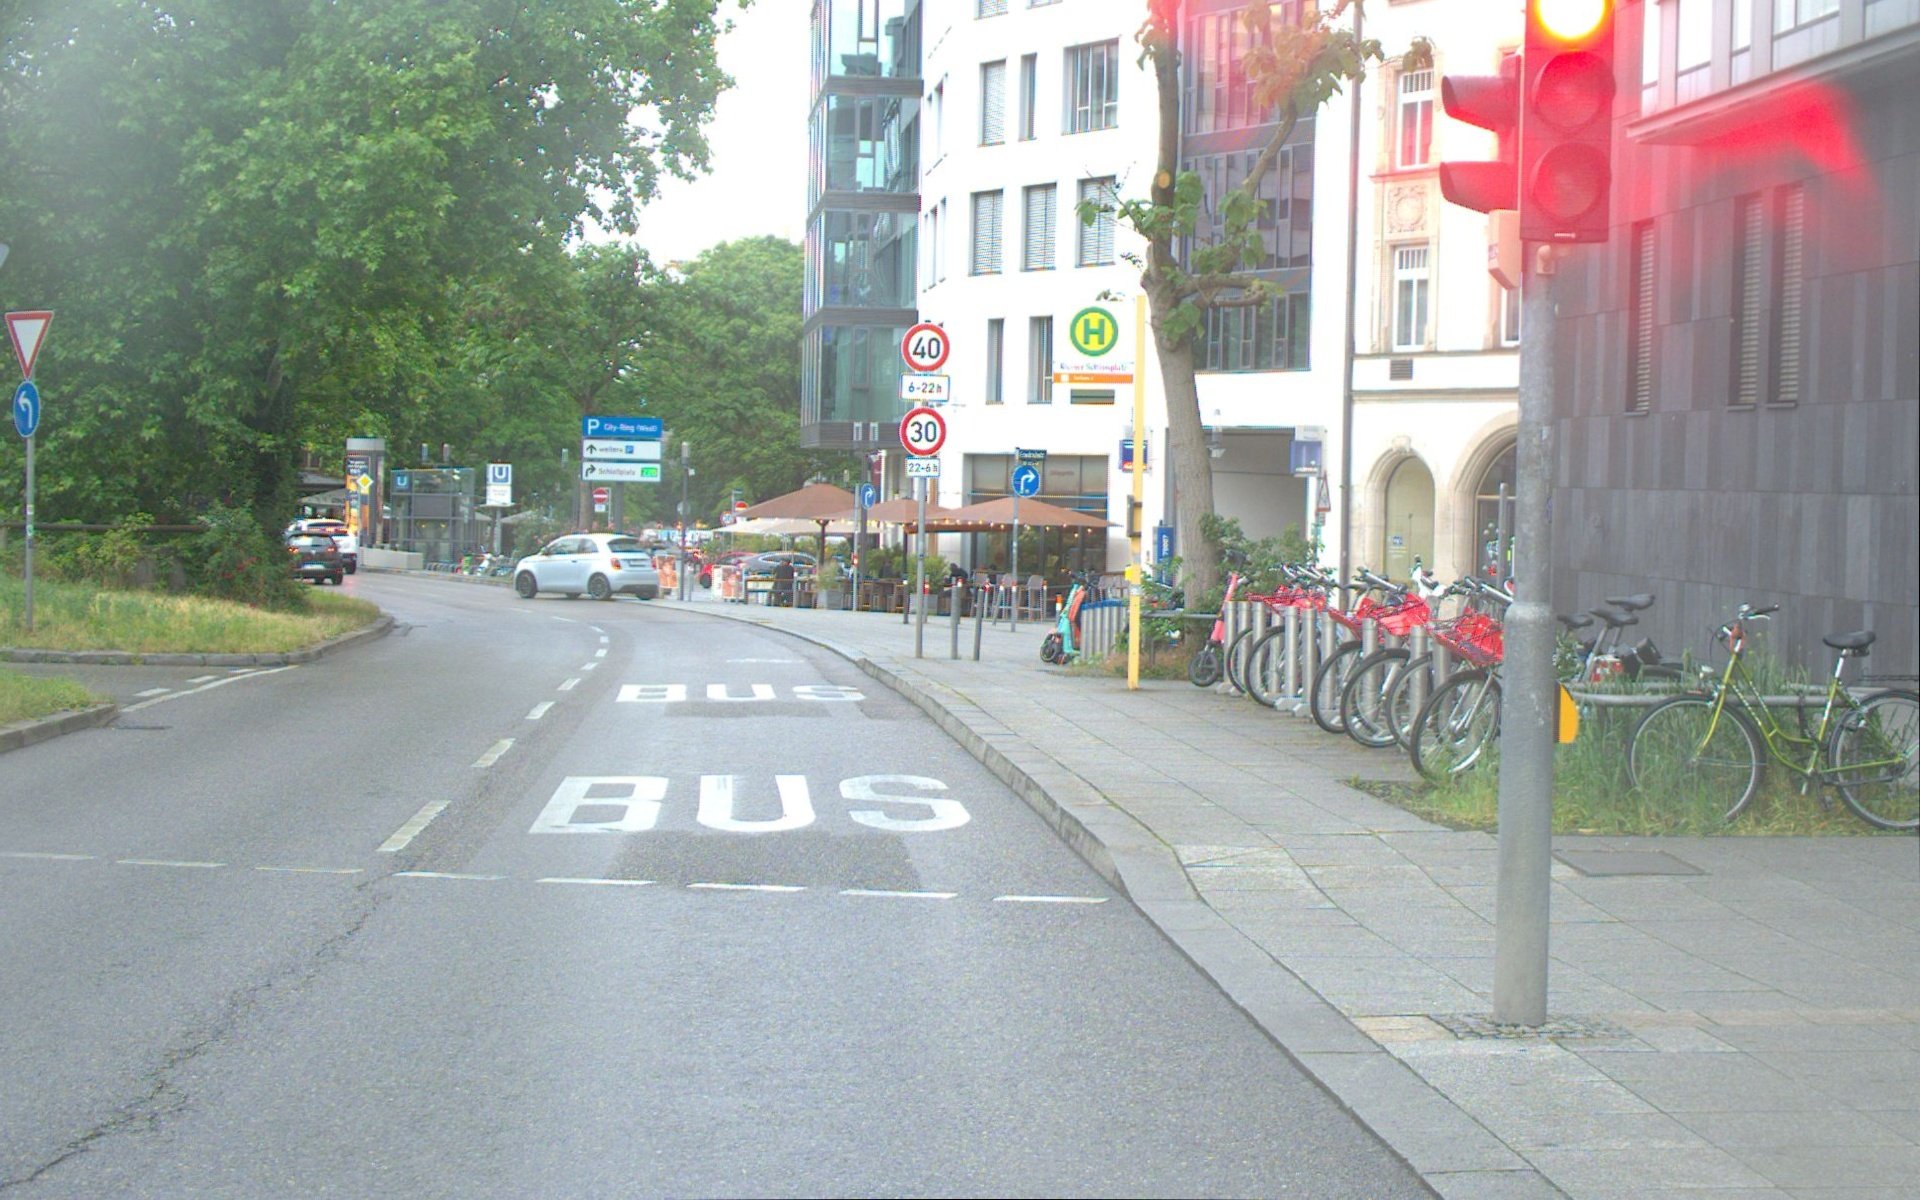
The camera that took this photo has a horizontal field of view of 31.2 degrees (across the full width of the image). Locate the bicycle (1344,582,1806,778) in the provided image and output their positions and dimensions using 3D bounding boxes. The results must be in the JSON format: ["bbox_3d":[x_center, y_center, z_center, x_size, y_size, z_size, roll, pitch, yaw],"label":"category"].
[{"bbox_3d":[3.557,0.458,19.960,2.535,1.083,0.677,1,1,-5],"label":"bicycle"}]

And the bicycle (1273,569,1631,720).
[{"bbox_3d":[3.649,0.327,25.575,2.535,1.083,0.677,1,1,-5],"label":"bicycle"}]

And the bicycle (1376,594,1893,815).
[{"bbox_3d":[3.499,0.539,17.932,2.535,1.083,0.677,1,1,-5],"label":"bicycle"}]

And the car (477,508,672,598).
[{"bbox_3d":[-8.843,-1.073,78.778,3.995,1.641,1.996,6,1,34],"label":"car"}]

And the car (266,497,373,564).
[{"bbox_3d":[-17.225,-1.885,92.297,2.161,1.700,4.555,1,1,-18],"label":"car"}]

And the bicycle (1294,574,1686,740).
[{"bbox_3d":[3.594,0.380,23.400,2.535,1.083,0.677,1,1,-5],"label":"bicycle"}]

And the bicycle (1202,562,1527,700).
[{"bbox_3d":[3.290,0.249,28.055,2.535,1.083,0.677,1,1,-5],"label":"bicycle"}]

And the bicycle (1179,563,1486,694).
[{"bbox_3d":[3.190,0.243,29.524,2.535,1.083,0.627,1,1,-5],"label":"bicycle"}]

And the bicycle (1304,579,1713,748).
[{"bbox_3d":[3.575,0.411,22.492,2.535,1.056,0.677,1,1,-5],"label":"bicycle"}]

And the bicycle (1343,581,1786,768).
[{"bbox_3d":[3.646,0.444,20.815,2.535,1.083,0.677,1,1,-5],"label":"bicycle"}]

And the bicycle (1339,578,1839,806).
[{"bbox_3d":[3.412,0.494,18.735,2.535,1.083,0.677,3,1,-5],"label":"bicycle"}]

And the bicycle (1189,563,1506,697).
[{"bbox_3d":[3.234,0.248,28.802,2.535,1.083,0.677,1,1,-5],"label":"bicycle"}]

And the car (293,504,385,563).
[{"bbox_3d":[-19.039,-2.042,105.304,2.178,1.695,4.001,1,1,-19],"label":"car"}]

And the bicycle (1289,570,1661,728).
[{"bbox_3d":[3.672,0.346,24.597,2.535,1.083,0.677,1,1,-5],"label":"bicycle"}]

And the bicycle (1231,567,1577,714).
[{"bbox_3d":[3.399,0.307,26.414,2.535,1.083,0.677,1,1,-5],"label":"bicycle"}]

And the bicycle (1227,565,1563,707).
[{"bbox_3d":[3.425,0.278,27.166,2.535,1.083,0.677,1,1,-5],"label":"bicycle"}]

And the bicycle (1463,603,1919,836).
[{"bbox_3d":[3.744,0.567,16.455,2.535,1.053,0.677,1,1,-5],"label":"bicycle"}]

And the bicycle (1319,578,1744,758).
[{"bbox_3d":[3.580,0.424,21.625,2.535,1.083,0.677,1,1,-5],"label":"bicycle"}]
